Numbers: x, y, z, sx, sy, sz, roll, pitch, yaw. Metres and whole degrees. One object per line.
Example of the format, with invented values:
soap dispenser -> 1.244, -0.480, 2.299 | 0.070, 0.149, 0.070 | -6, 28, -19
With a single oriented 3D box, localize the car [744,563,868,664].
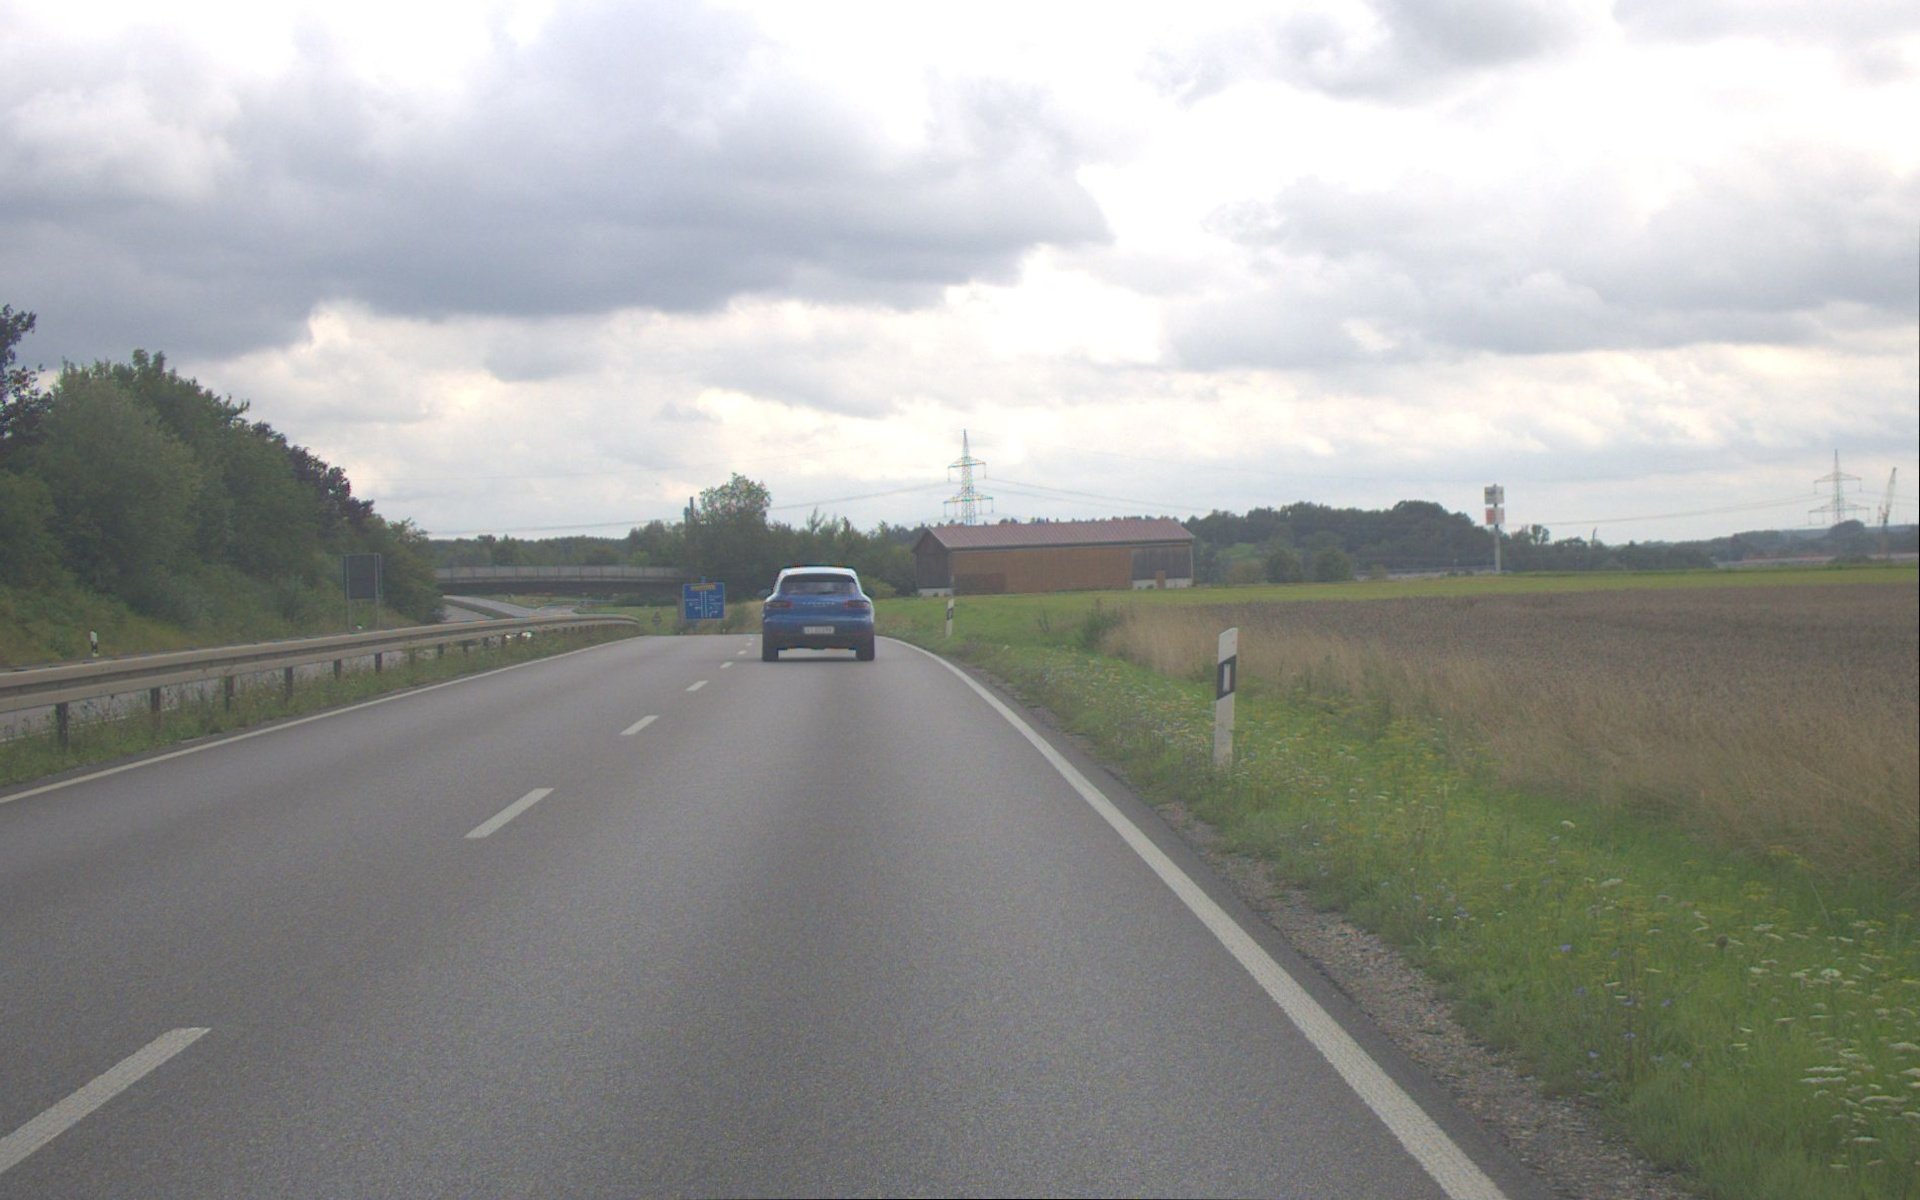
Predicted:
car -> -2.646, 0.203, 60.020 | 2.033, 1.655, 4.543 | 0, 1, -1
